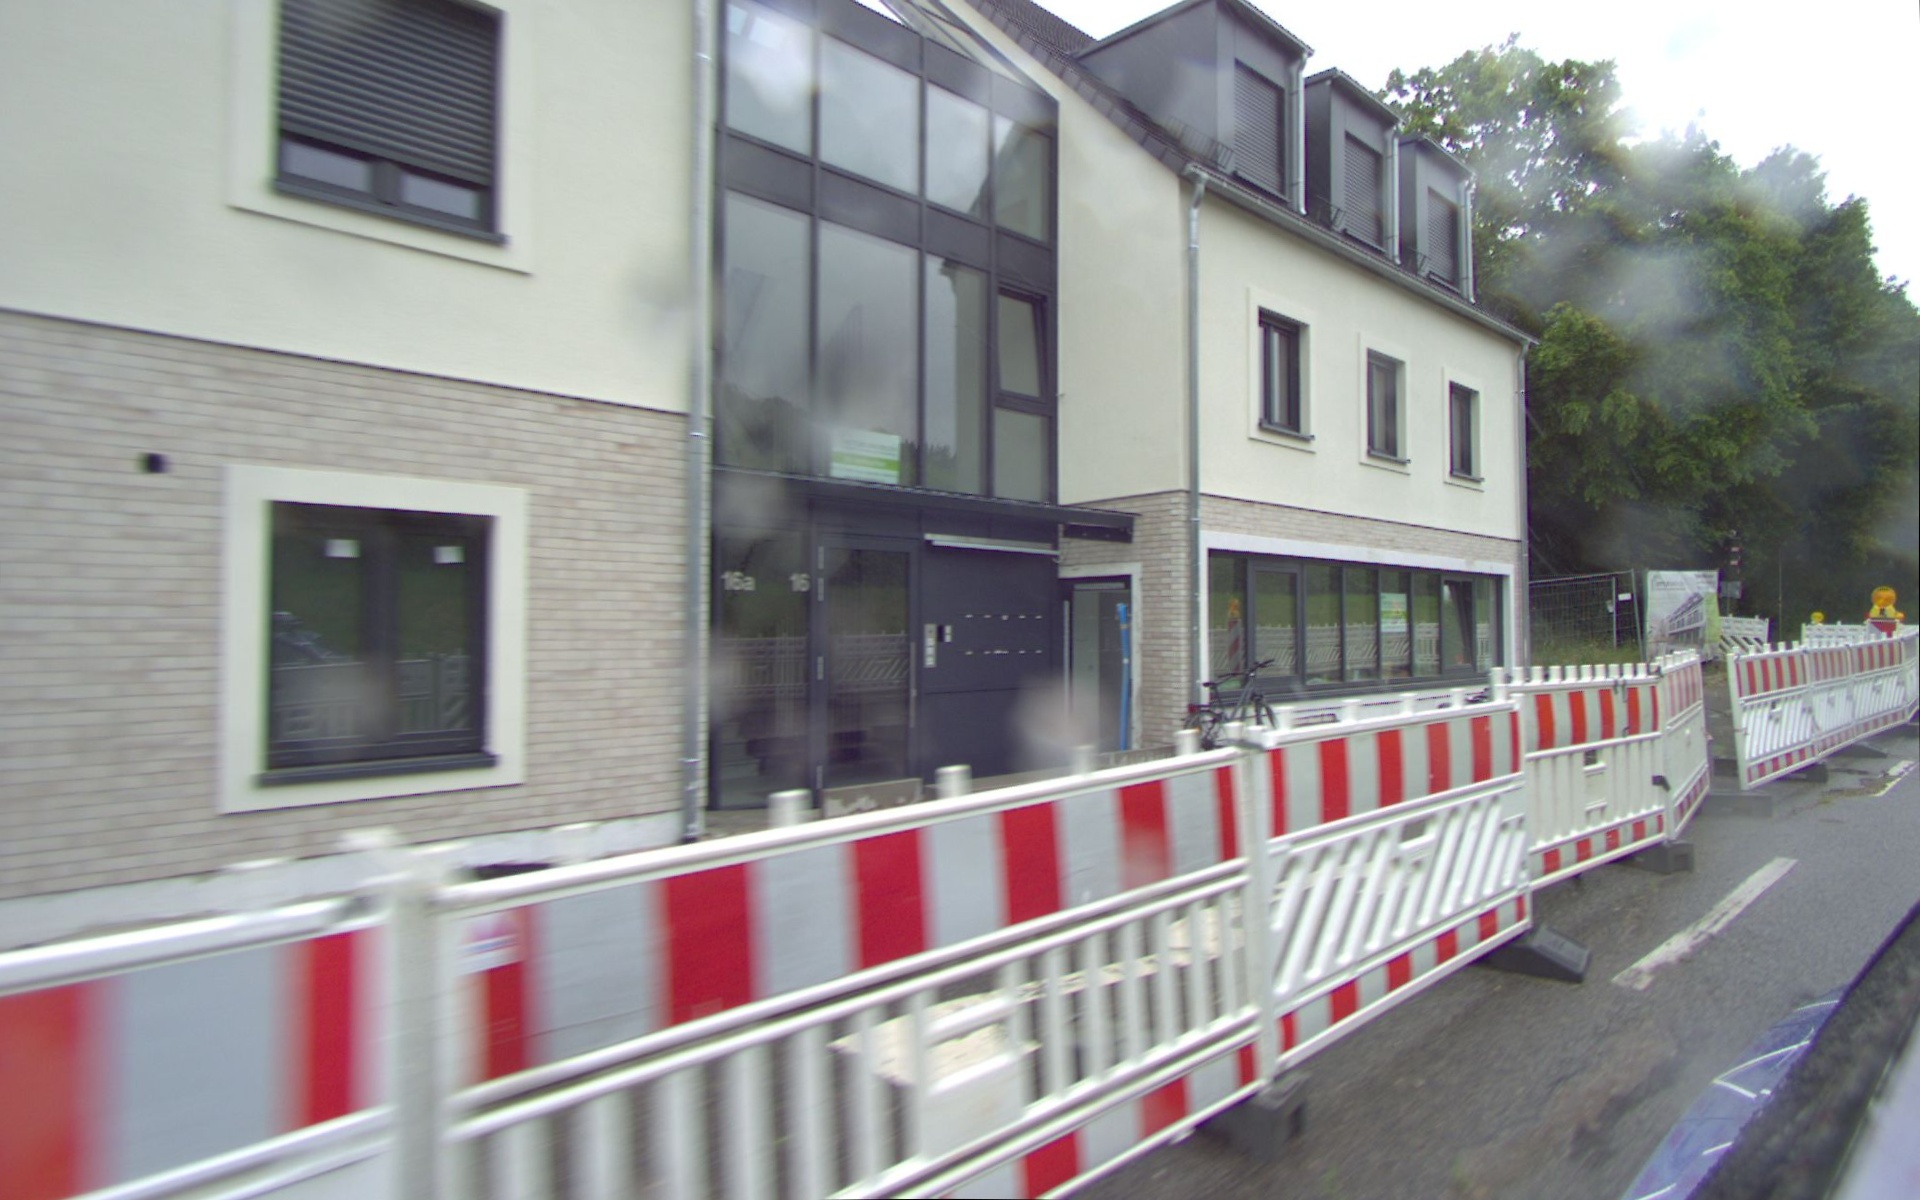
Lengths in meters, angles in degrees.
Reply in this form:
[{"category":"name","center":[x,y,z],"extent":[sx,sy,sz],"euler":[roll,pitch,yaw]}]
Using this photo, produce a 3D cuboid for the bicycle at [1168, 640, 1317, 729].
[{"category":"bicycle","center":[2.780,0.792,9.866],"extent":[1.709,0.705,0.497],"euler":[0,4,-41]}]
